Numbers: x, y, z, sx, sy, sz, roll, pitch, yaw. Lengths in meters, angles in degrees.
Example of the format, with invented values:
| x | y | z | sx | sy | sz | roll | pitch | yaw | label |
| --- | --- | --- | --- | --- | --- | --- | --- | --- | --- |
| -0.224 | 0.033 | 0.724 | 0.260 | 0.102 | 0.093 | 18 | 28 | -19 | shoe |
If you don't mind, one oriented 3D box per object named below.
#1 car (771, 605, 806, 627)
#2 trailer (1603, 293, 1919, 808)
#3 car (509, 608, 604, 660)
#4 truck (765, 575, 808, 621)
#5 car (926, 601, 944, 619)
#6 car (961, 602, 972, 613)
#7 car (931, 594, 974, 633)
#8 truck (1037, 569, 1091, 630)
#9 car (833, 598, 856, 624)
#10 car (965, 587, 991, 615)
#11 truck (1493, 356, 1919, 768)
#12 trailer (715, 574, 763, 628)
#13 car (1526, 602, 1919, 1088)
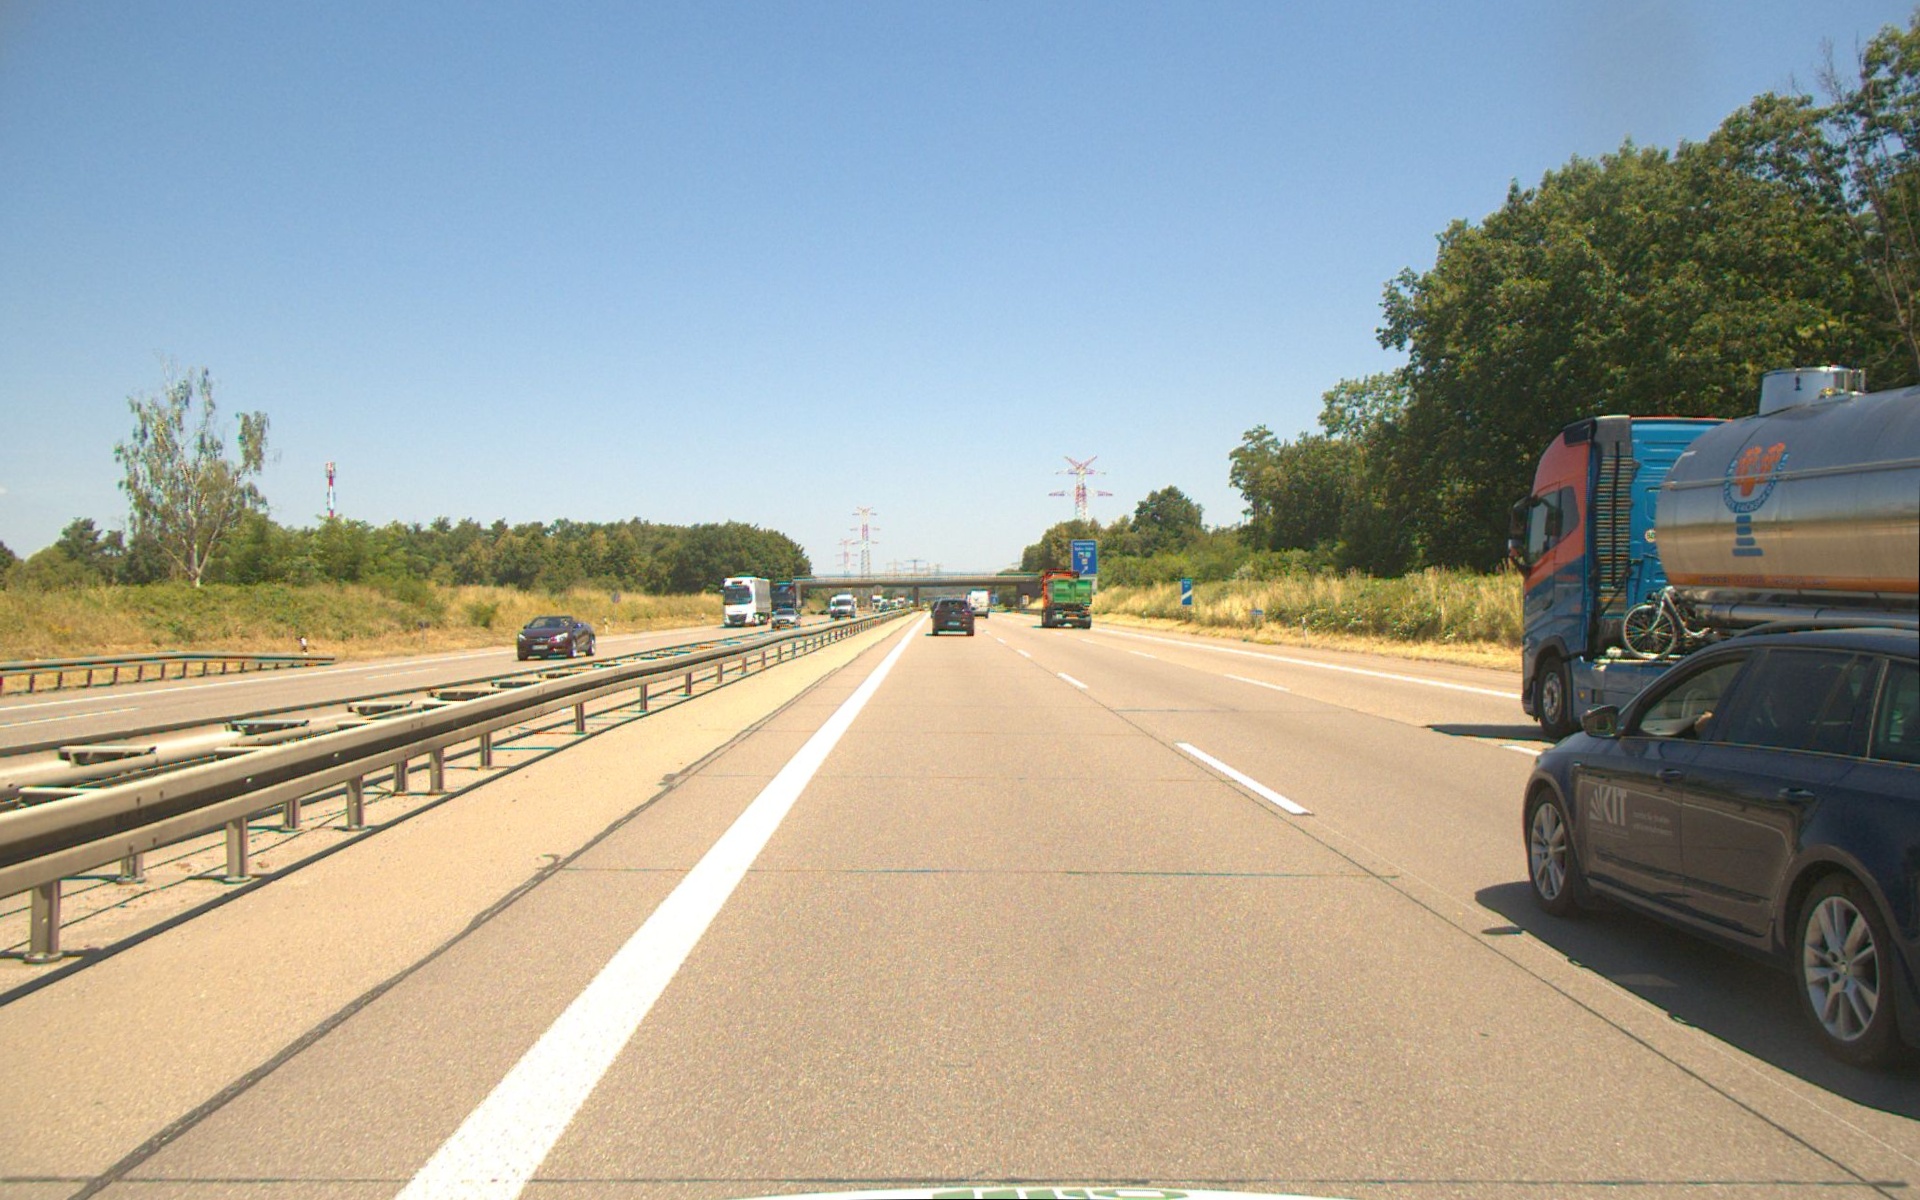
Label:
| x | y | z | sx | sy | sz | roll | pitch | yaw | label |
| --- | --- | --- | --- | --- | --- | --- | --- | --- | --- |
| -11.998 | 1.108 | 115.939 | 1.922 | 1.454 | 5.289 | -2 | 0 | -1 | car |
| 8.313 | -0.353 | 12.194 | 2.477 | 3.799 | 11.546 | 1 | 0 | -1 | trailer |
| -13.390 | 1.086 | 55.207 | 1.922 | 1.552 | 5.289 | -2 | 0 | -1 | car |
| -18.890 | -0.224 | 181.051 | 3.308 | 4.705 | 12.184 | -3 | 0 | -1 | truck |
| -2.550 | 1.014 | 166.965 | 1.758 | 1.780 | 3.999 | 1 | 0 | -1 | car |
| 1.008 | 1.133 | 258.777 | 1.711 | 1.662 | 4.003 | 1 | 0 | -1 | car |
| -0.375 | 0.627 | 77.648 | 1.953 | 1.780 | 3.999 | 1 | 0 | -1 | car |
| 6.892 | -0.023 | 111.282 | 2.626 | 3.864 | 12.476 | 1 | 0 | -1 | truck |
| -12.581 | 1.173 | 180.257 | 1.953 | 2.615 | 6.389 | -3 | 0 | -1 | car |
| 1.900 | 0.125 | 173.396 | 2.568 | 2.807 | 6.095 | 1 | 0 | -1 | car |
| 8.224 | -0.343 | 18.454 | 2.477 | 3.799 | 6.097 | 1 | 0 | -1 | truck |
| -18.520 | 0.089 | 138.981 | 3.091 | 4.271 | 6.324 | -3 | 0 | -1 | trailer |
| 3.847 | 0.777 | 6.392 | 1.765 | 1.509 | 4.270 | 1 | 0 | -1 | car |
